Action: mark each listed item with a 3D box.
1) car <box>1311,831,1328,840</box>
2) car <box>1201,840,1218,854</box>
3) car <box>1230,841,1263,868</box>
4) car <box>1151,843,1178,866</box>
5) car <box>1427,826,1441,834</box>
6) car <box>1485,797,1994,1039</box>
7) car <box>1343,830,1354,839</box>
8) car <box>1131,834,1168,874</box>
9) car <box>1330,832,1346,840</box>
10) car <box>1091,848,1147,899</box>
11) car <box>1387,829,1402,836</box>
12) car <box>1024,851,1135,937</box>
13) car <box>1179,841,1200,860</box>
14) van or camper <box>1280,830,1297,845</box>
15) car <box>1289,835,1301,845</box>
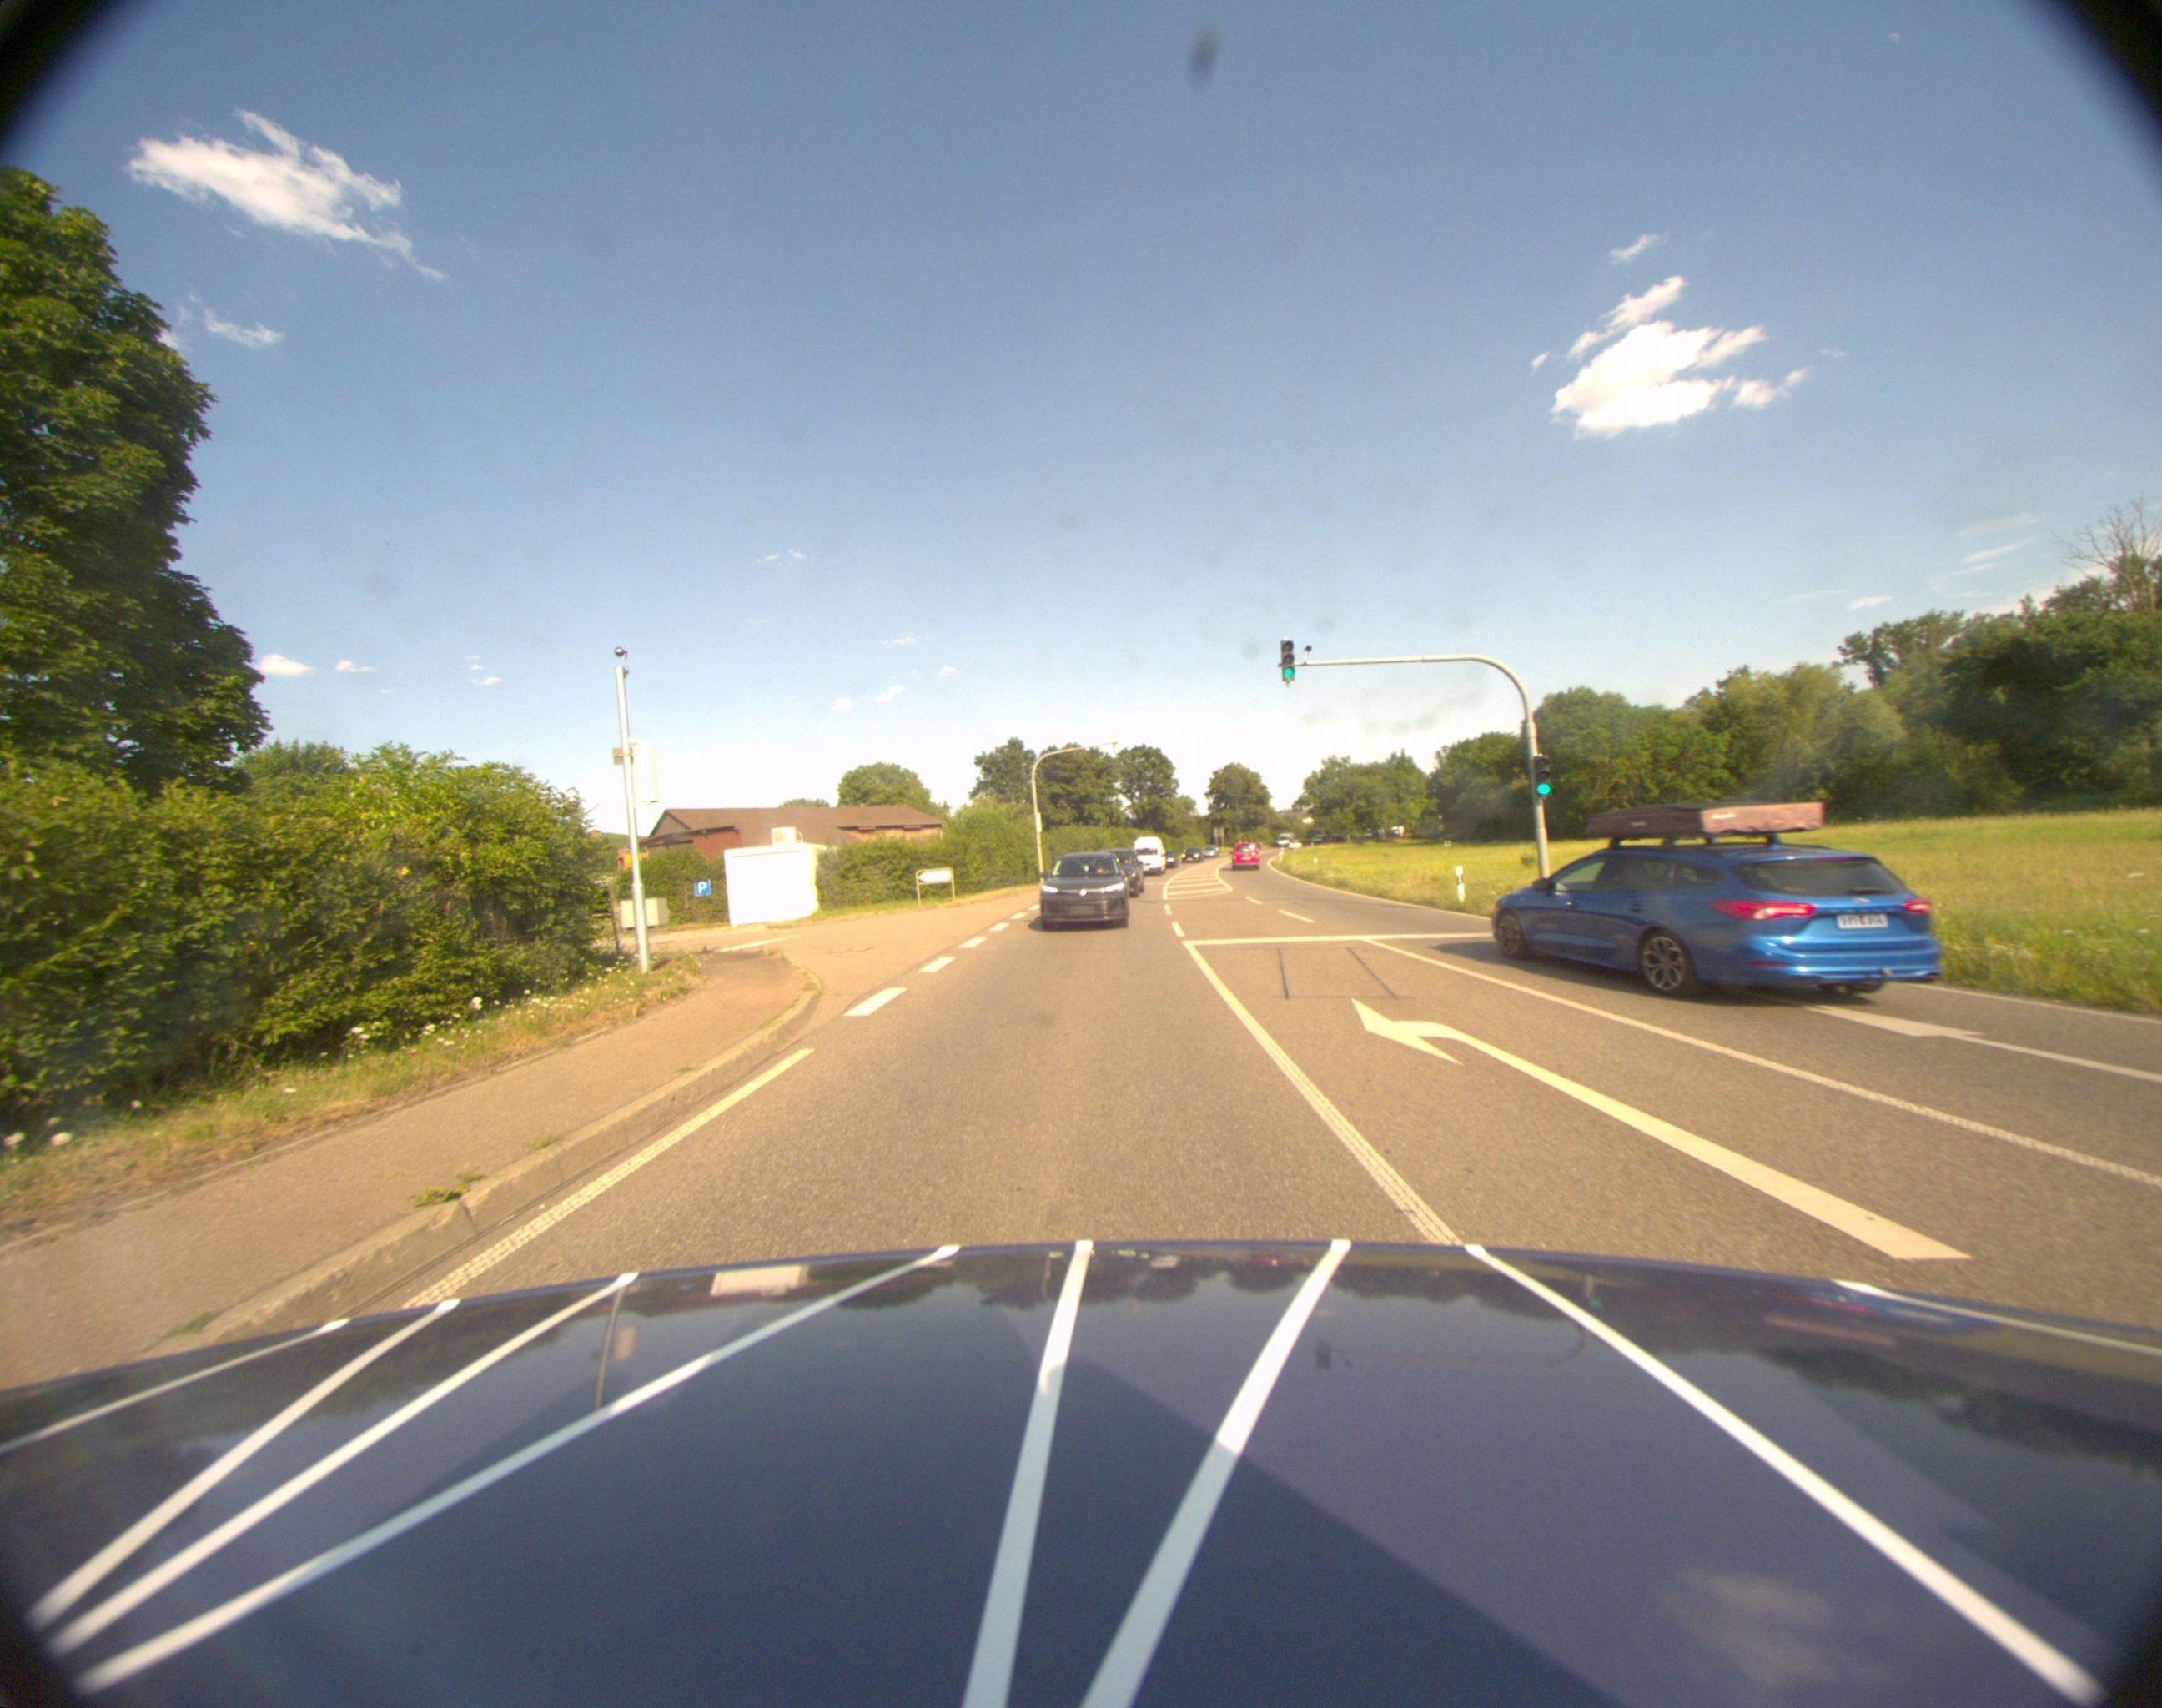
[{"bbox_3d":[48.787,-3.700,155.225,1.995,1.543,4.007,-5,0,35],"label":"car"},{"bbox_3d":[15.437,-0.858,91.085,1.632,1.550,3.420,0,2,17],"label":"car"},{"bbox_3d":[11.309,0.047,52.122,1.884,1.765,4.324,-1,0,9],"label":"car"},{"bbox_3d":[6.617,0.031,59.770,1.692,1.718,3.671,-2,1,12],"label":"car"},{"bbox_3d":[92.538,-6.301,198.958,4.007,1.846,1.995,-5,0,-44],"label":"car"},{"bbox_3d":[6.341,0.514,8.156,1.729,1.871,4.336,-1,0,1],"label":"car"},{"bbox_3d":[61.578,-4.444,174.797,1.405,2.002,3.240,-4,0,37],"label":"car"},{"bbox_3d":[4.356,-0.049,47.555,1.843,2.338,4.792,-1,1,11],"label":"car"},{"bbox_3d":[51.229,-3.646,151.499,1.928,1.577,4.081,0,1,37],"label":"car"},{"bbox_3d":[1.447,0.664,27.930,1.658,1.720,3.807,-1,0,8],"label":"car"},{"bbox_3d":[73.841,-5.076,178.816,1.995,1.543,4.007,-4,0,40],"label":"car"},{"bbox_3d":[0.105,0.795,17.089,1.864,1.633,4.002,-1,1,9],"label":"car"},{"bbox_3d":[10.531,-0.319,73.561,1.672,1.718,3.671,-1,1,14],"label":"car"},{"bbox_3d":[37.552,-3.017,137.519,2.031,2.461,5.084,-4,0,24],"label":"van or camper"},{"bbox_3d":[34.435,-2.275,122.131,1.748,1.458,3.483,-1,1,18],"label":"car"}]
